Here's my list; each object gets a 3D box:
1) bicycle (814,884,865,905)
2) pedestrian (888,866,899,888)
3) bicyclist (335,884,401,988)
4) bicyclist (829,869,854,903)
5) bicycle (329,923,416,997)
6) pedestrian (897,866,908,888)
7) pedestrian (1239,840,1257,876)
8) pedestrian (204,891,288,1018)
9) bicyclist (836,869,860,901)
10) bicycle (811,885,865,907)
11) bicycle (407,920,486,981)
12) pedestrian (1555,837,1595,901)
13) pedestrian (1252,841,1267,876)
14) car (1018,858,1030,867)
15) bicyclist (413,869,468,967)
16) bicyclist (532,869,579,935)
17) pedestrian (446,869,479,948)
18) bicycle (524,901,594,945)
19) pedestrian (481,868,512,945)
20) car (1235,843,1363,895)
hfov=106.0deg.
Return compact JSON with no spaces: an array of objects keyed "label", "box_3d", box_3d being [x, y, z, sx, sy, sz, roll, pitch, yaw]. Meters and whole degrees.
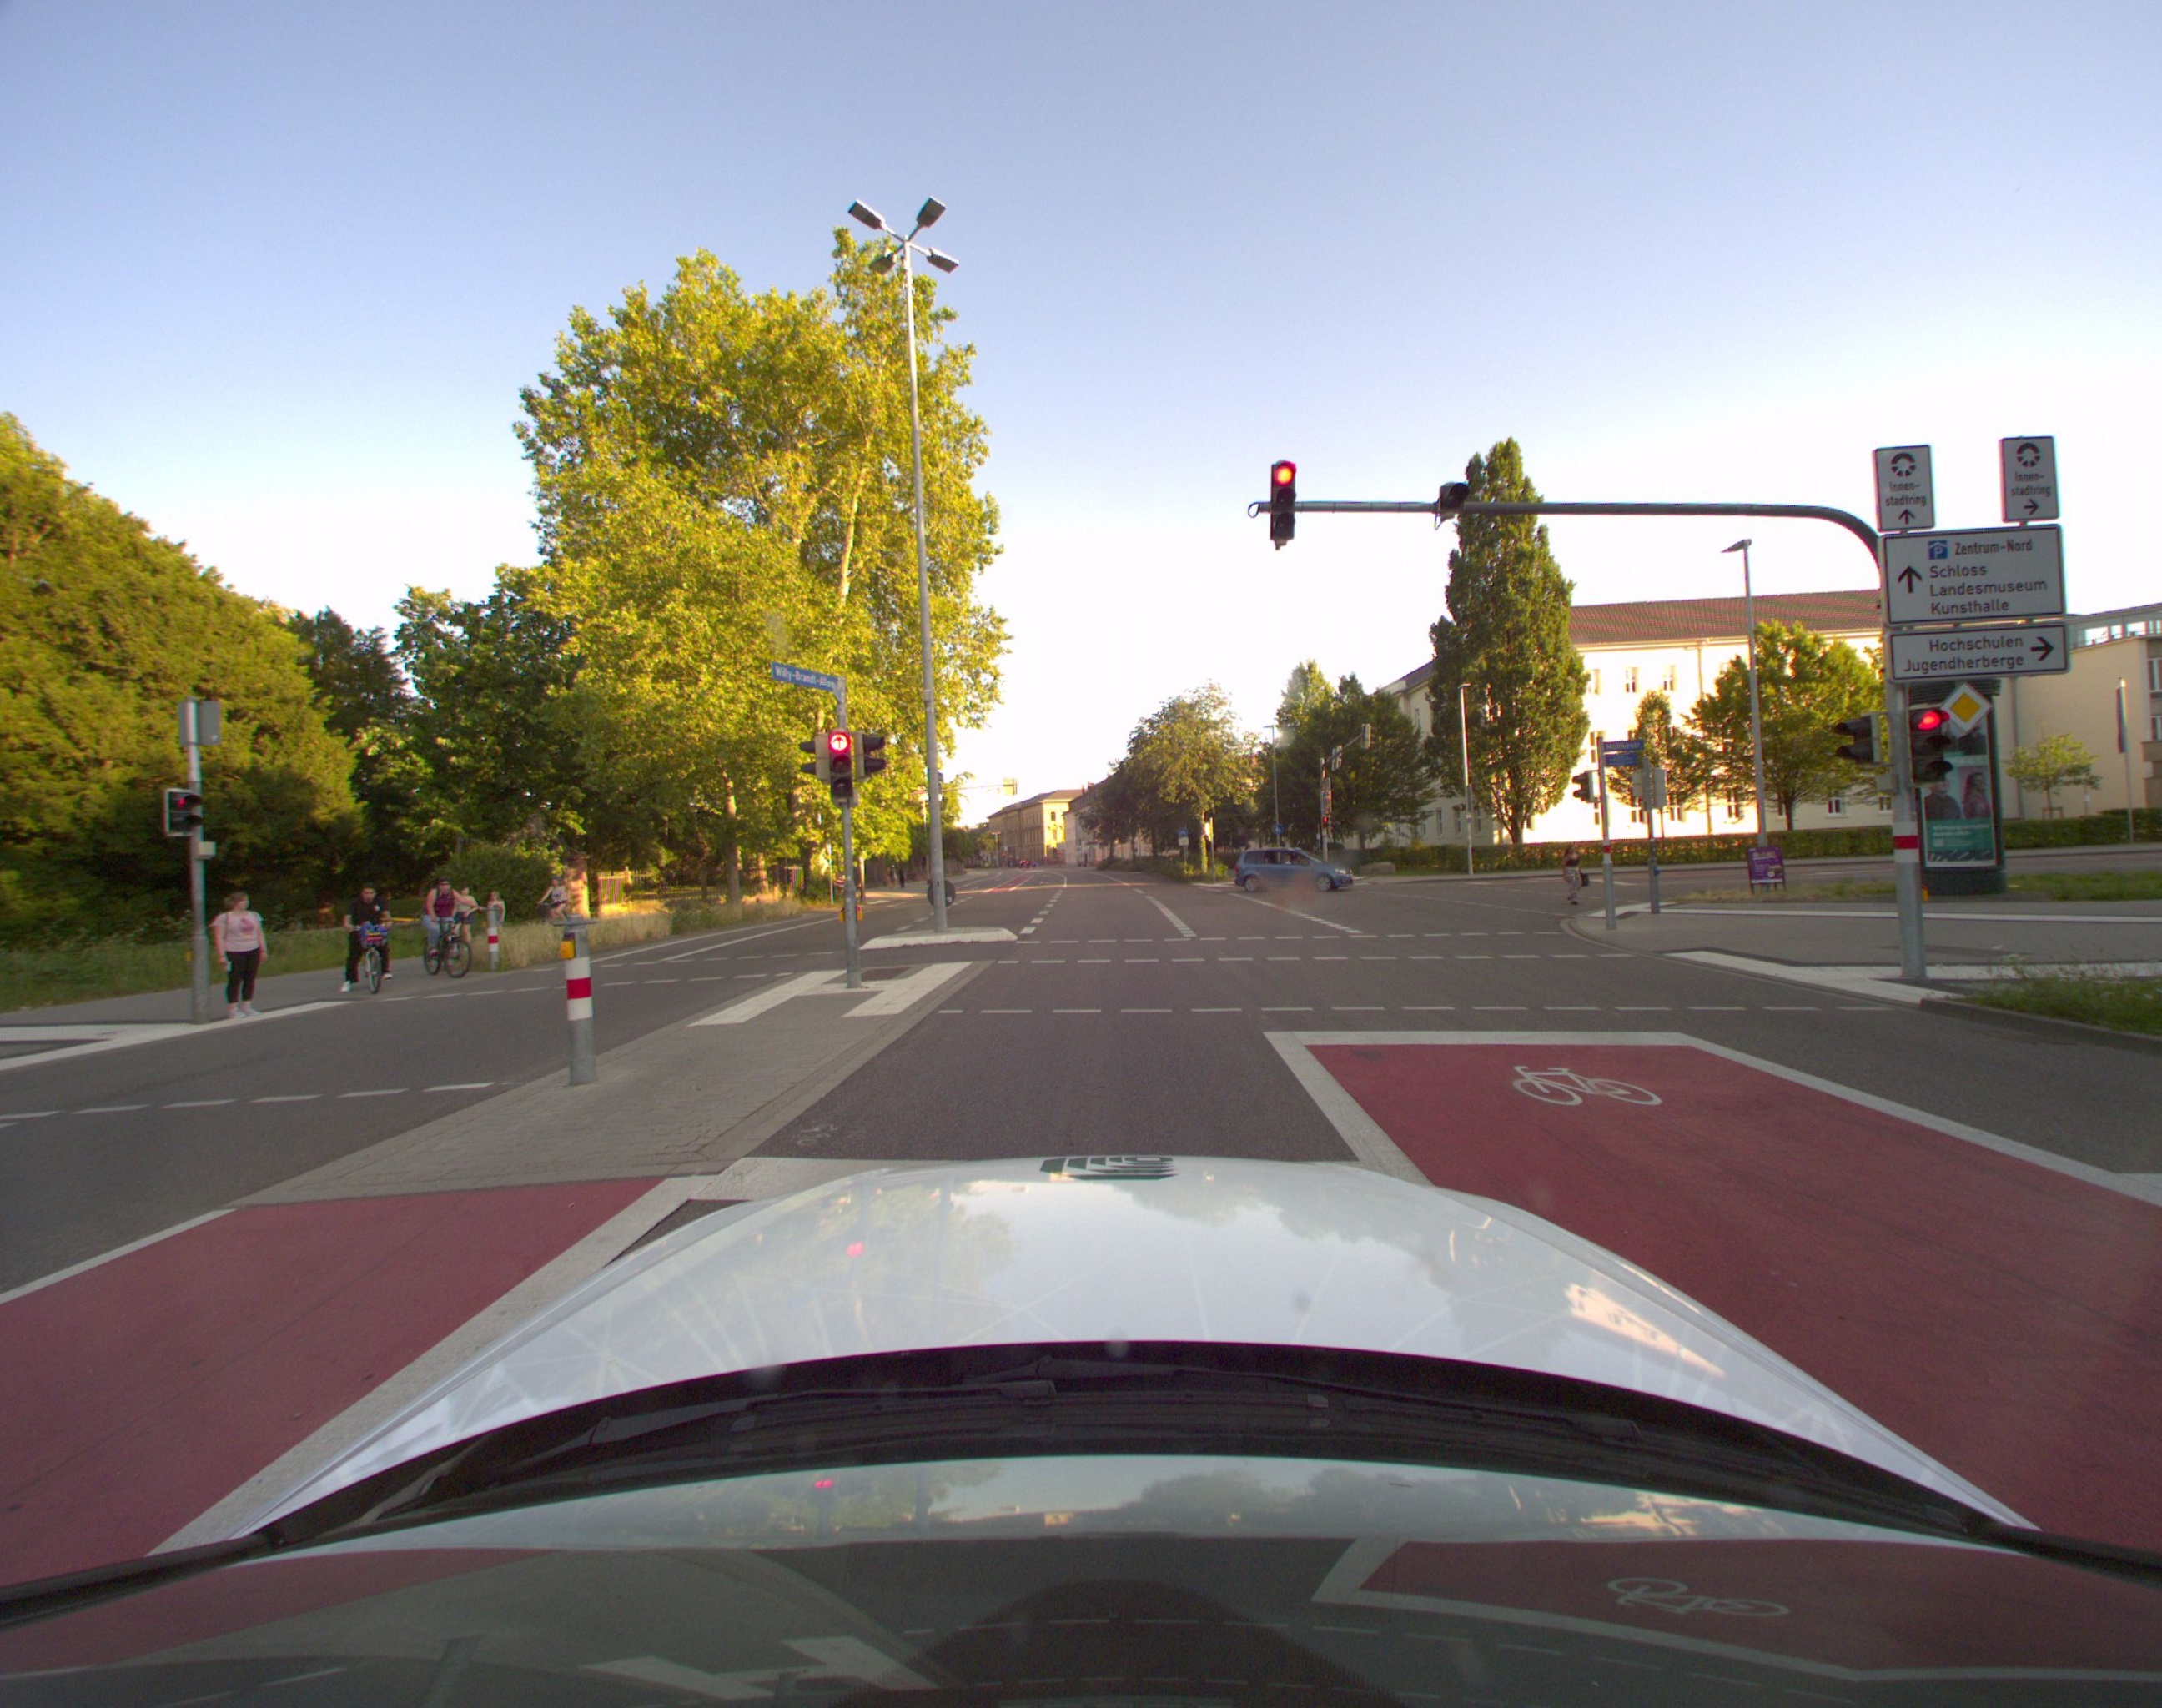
[{"label":"bicycle","box_3d":[-12.622,2.118,42.599,2.420,0.924,0.775,-3,0,2]},{"label":"pedestrian","box_3d":[-13.725,1.675,59.662,0.533,1.596,0.591,-3,0,1]},{"label":"bicyclist","box_3d":[-11.893,1.349,13.590,0.631,1.649,0.634,-3,-1,32]},{"label":"bicyclist","box_3d":[-11.972,1.590,40.708,0.954,1.631,0.753,-3,0,2]},{"label":"bicycle","box_3d":[-11.765,1.726,13.513,1.548,1.111,0.637,-3,-1,32]},{"label":"pedestrian","box_3d":[-13.085,1.662,59.649,0.597,1.573,0.646,-3,0,1]},{"label":"pedestrian","box_3d":[9.784,0.232,47.708,0.867,2.014,0.723,-2,-1,1]},{"label":"pedestrian","box_3d":[-11.737,1.398,11.460,0.604,1.695,0.499,-3,0,3]},{"label":"bicyclist","box_3d":[-12.176,1.605,42.586,0.954,1.631,0.753,-3,0,2]},{"label":"bicycle","box_3d":[-12.142,2.087,40.690,2.420,0.924,0.775,-3,0,2]},{"label":"bicycle","box_3d":[-11.803,1.761,15.135,1.749,1.030,0.583,-3,0,32]},{"label":"pedestrian","box_3d":[12.882,0.377,21.241,0.597,1.636,0.692,-2,0,2]},{"label":"pedestrian","box_3d":[10.264,0.247,46.964,0.633,2.014,0.720,-2,-1,-2]},{"label":"car","box_3d":[-11.976,1.794,170.235,1.821,1.588,3.983,-4,0,-12]},{"label":"bicyclist","box_3d":[-11.989,1.183,15.241,0.631,1.780,0.580,-3,-1,32]},{"label":"bicyclist","box_3d":[-14.427,1.299,22.381,0.755,1.728,0.941,-2,-1,-11]},{"label":"pedestrian","box_3d":[-16.248,1.402,21.394,0.654,2.014,0.599,-1,-1,-37]},{"label":"bicycle","box_3d":[-14.404,1.876,22.544,0.739,1.033,2.290,-2,0,-9]},{"label":"pedestrian","box_3d":[-15.630,1.383,21.772,0.598,2.014,0.634,-1,-1,-38]},{"label":"car","box_3d":[8.125,0.575,30.407,4.241,1.720,1.867,-2,2,29]}]
